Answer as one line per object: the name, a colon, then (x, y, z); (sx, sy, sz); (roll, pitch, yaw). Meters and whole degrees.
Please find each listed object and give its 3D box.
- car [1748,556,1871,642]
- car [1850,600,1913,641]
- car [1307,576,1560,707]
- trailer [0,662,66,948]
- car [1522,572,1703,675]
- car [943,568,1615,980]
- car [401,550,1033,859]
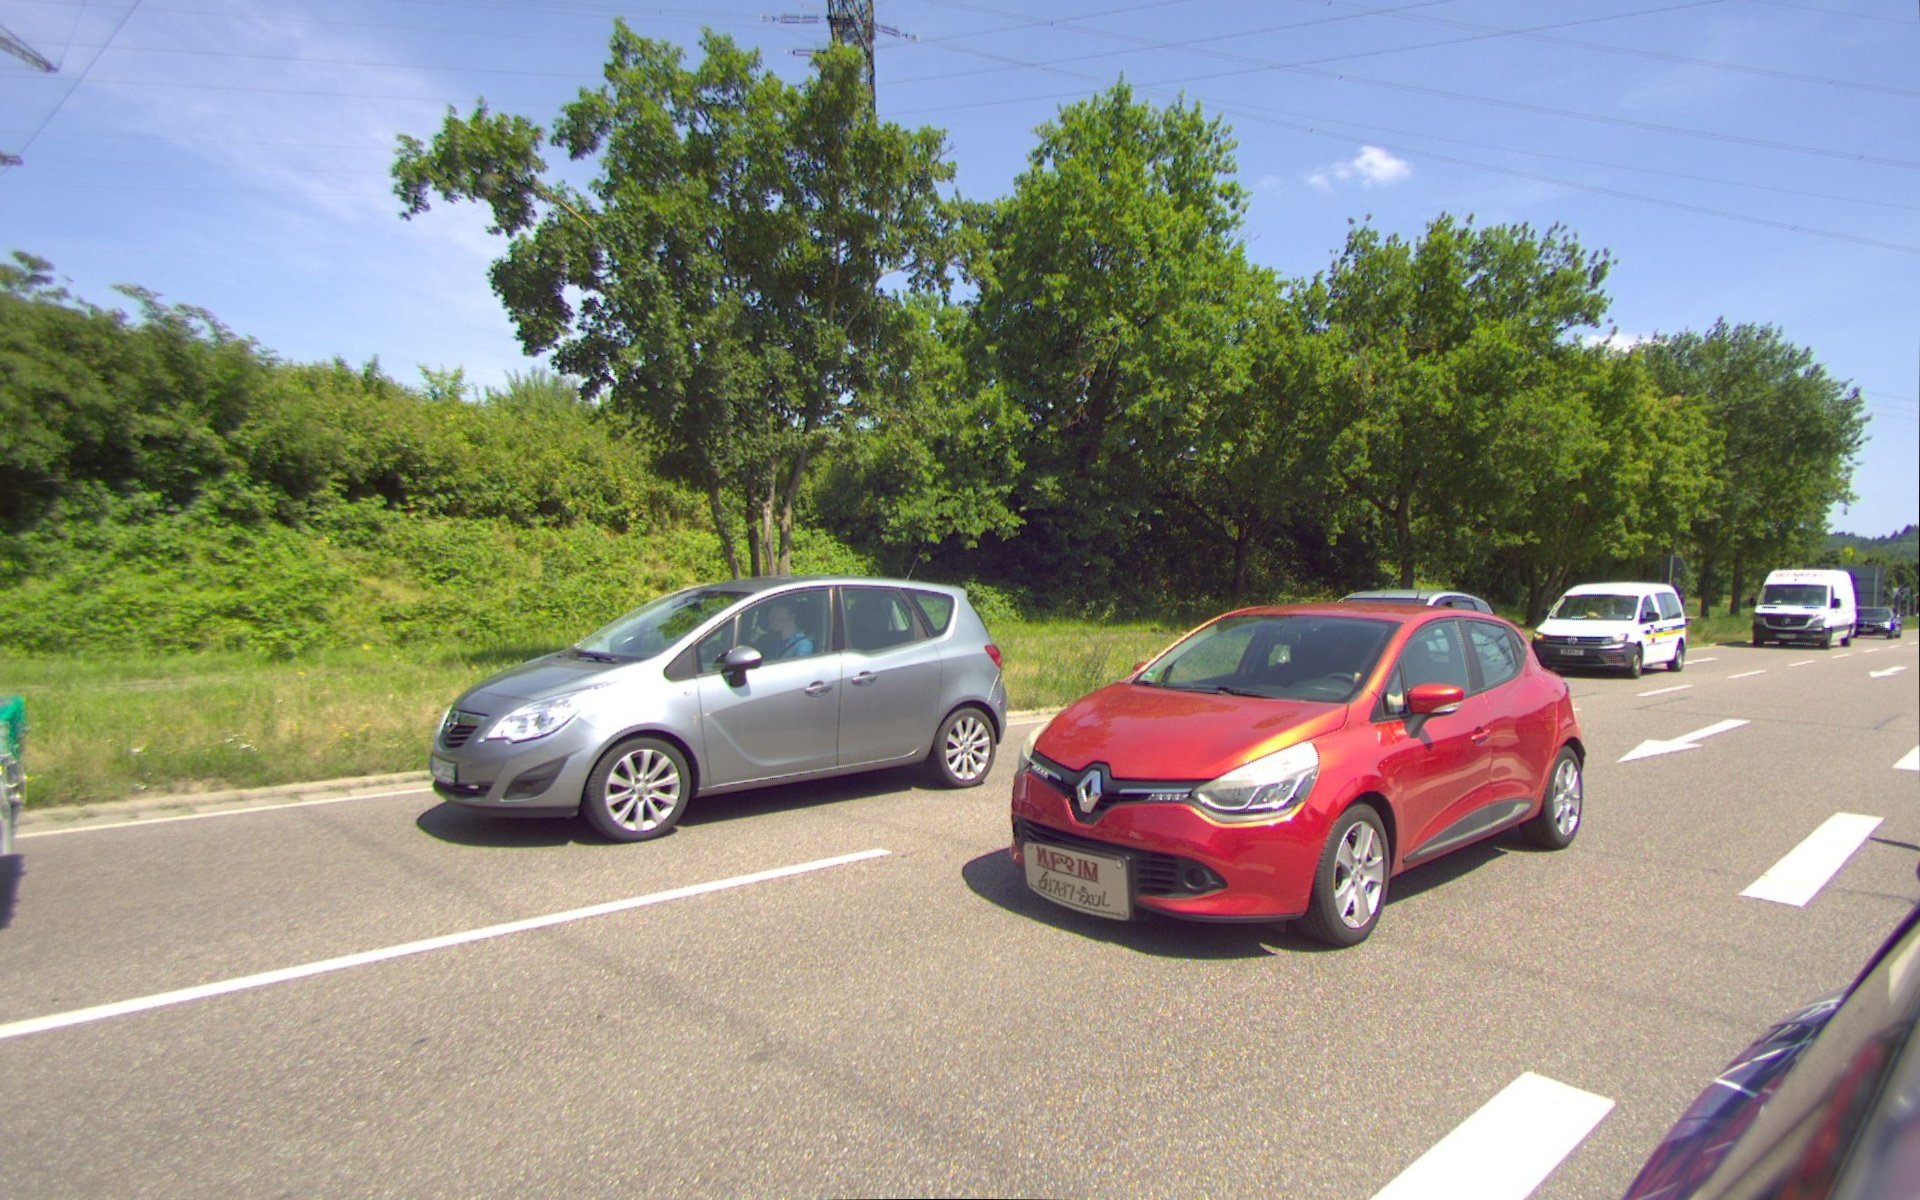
car: (28.818, -0.040, 34.233); (6.897, 2.640, 2.230); (0, 0, -42)
car: (42.539, 0.904, 46.678); (3.933, 1.705, 1.875); (-1, 1, -43)
car: (6.877, 0.507, 14.507); (4.197, 1.614, 1.746); (0, 0, -41)
trailer: (-5.425, 0.844, 3.645); (3.266, 1.019, 1.709); (0, 0, -41)
car: (13.150, 0.409, 20.264); (4.950, 1.823, 1.807); (0, 0, -42)
car: (1.987, 0.621, 5.621); (3.994, 1.480, 1.746); (0, 0, -41)
car: (-1.552, 0.530, 7.316); (4.092, 1.615, 1.768); (0, 1, -41)
